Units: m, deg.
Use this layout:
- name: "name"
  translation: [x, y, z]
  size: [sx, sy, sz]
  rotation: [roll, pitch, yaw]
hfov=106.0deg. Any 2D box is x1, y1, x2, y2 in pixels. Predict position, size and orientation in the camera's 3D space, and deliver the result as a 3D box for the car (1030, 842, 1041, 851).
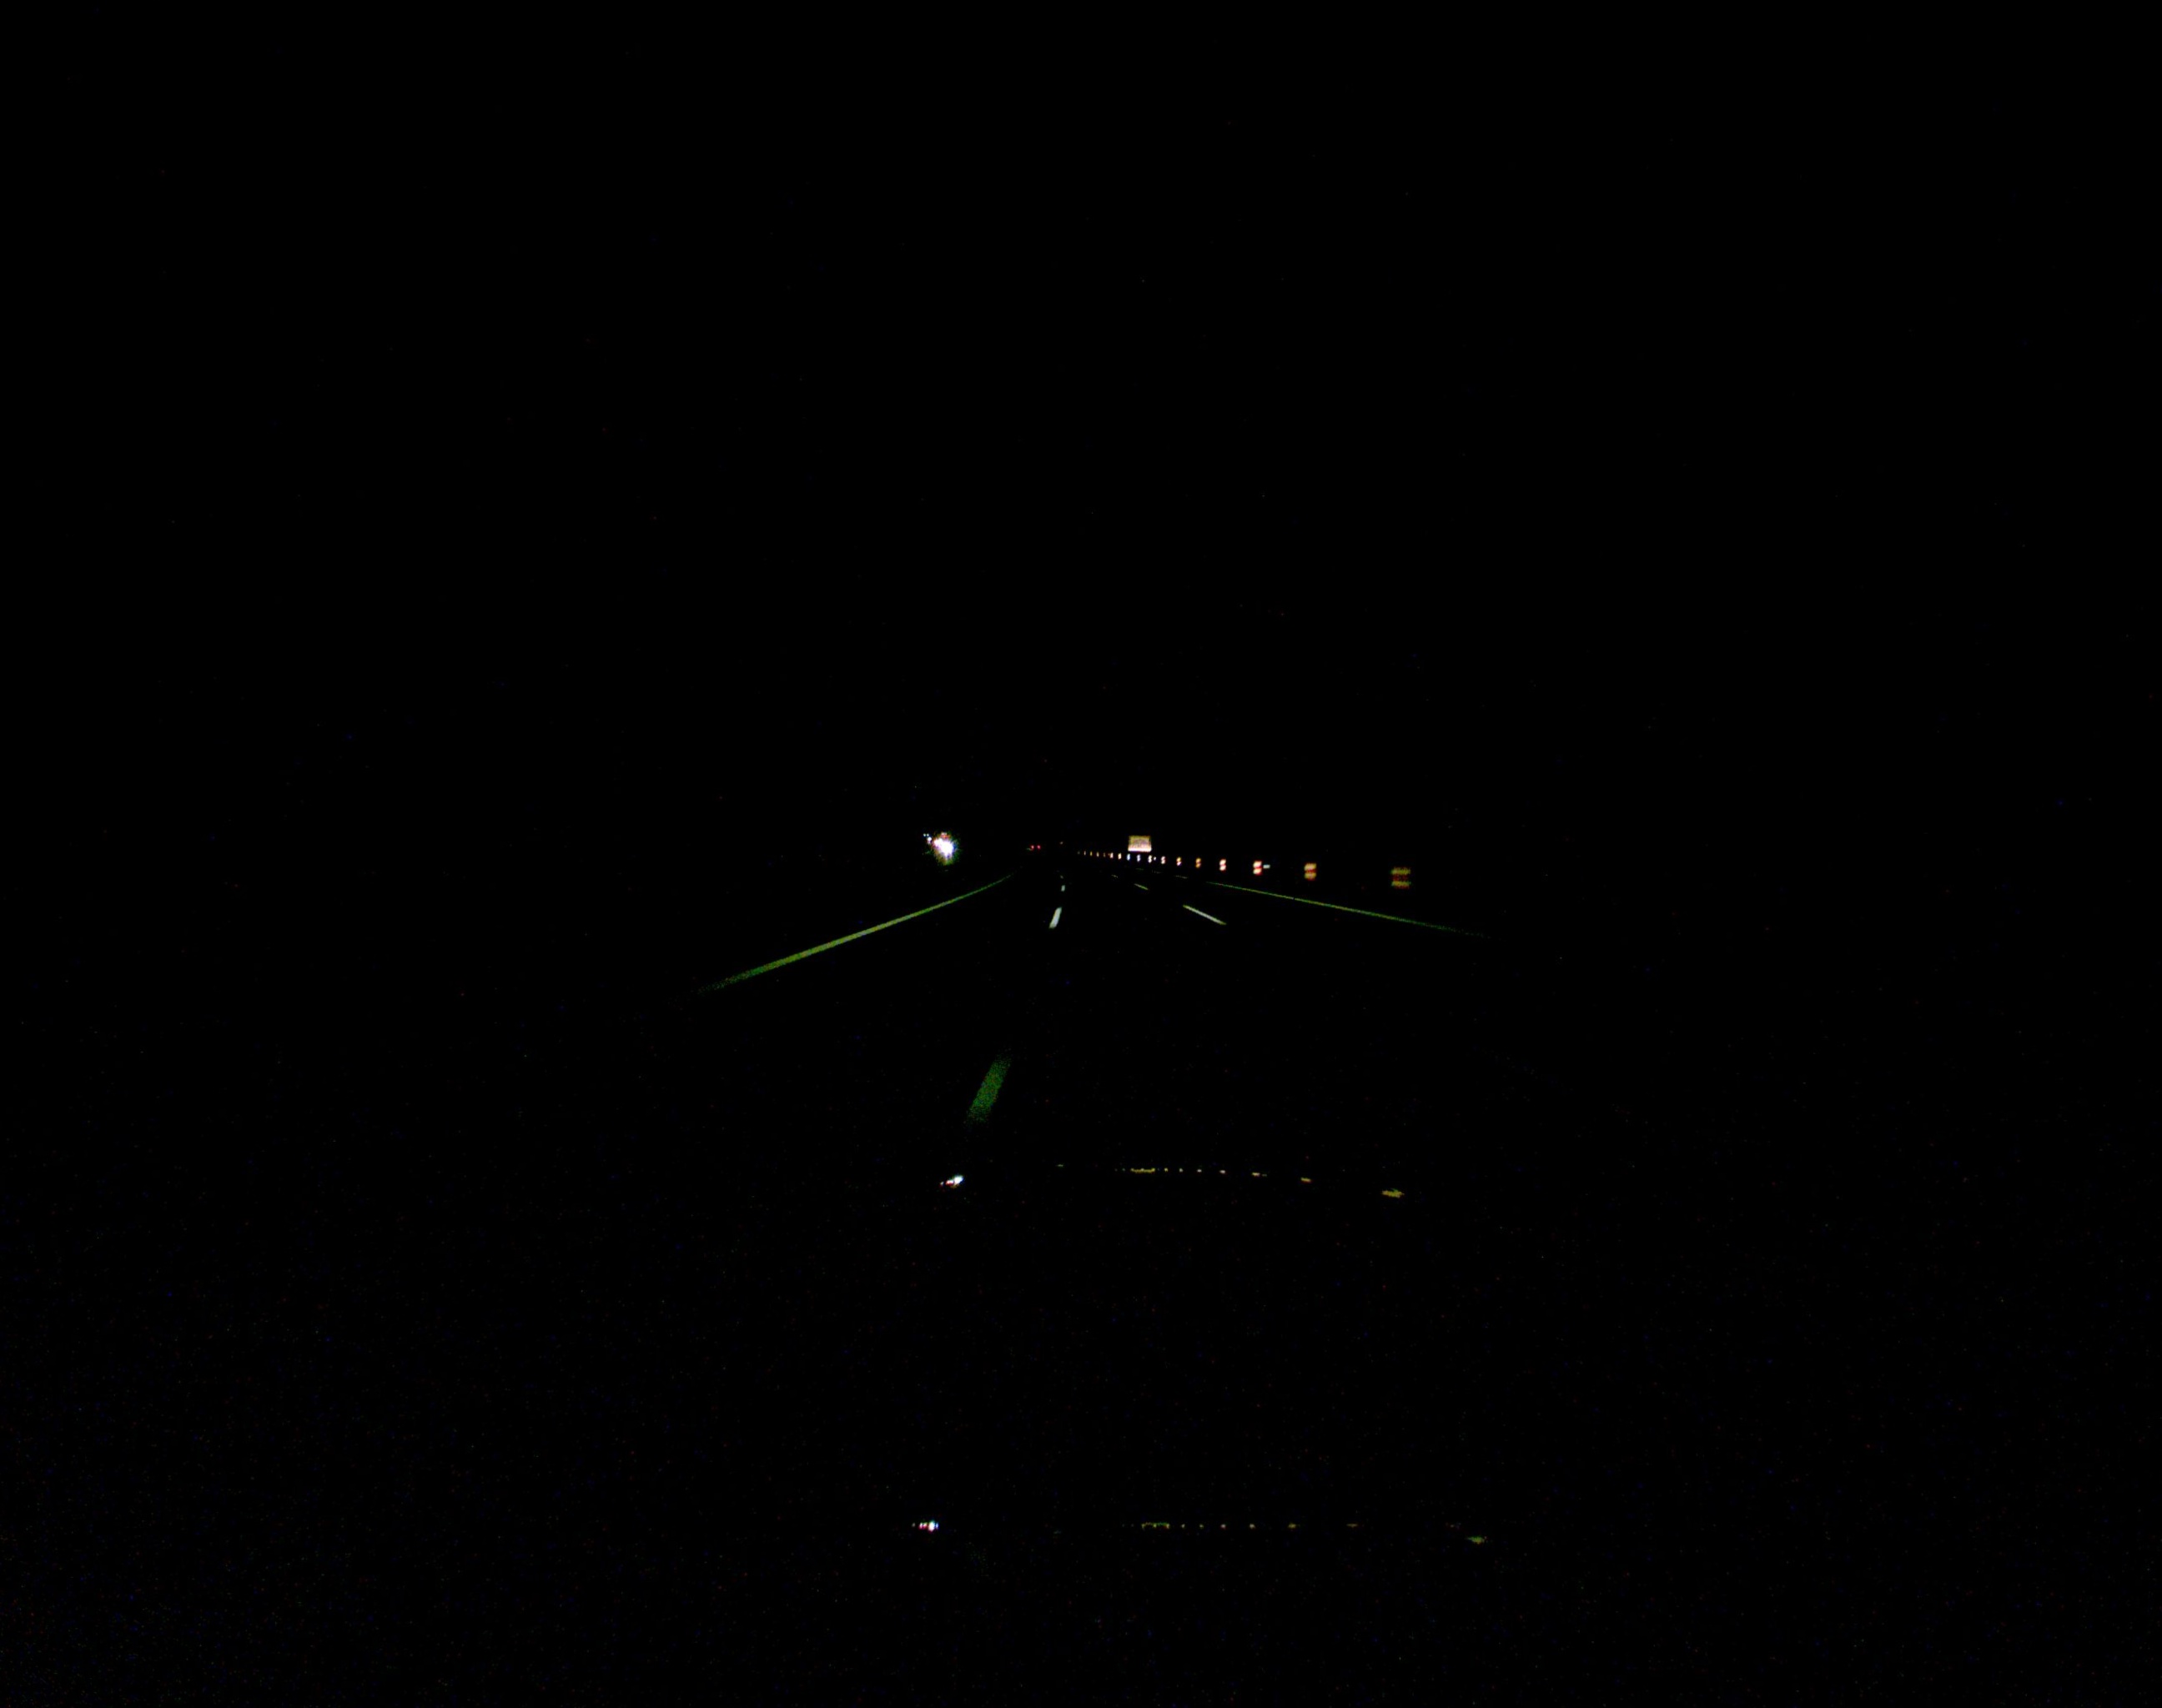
- name: "car"
  translation: [-13.351, -2.121, 237.329]
  size: [2.527, 2.553, 6.032]
  rotation: [1, 1, -9]
